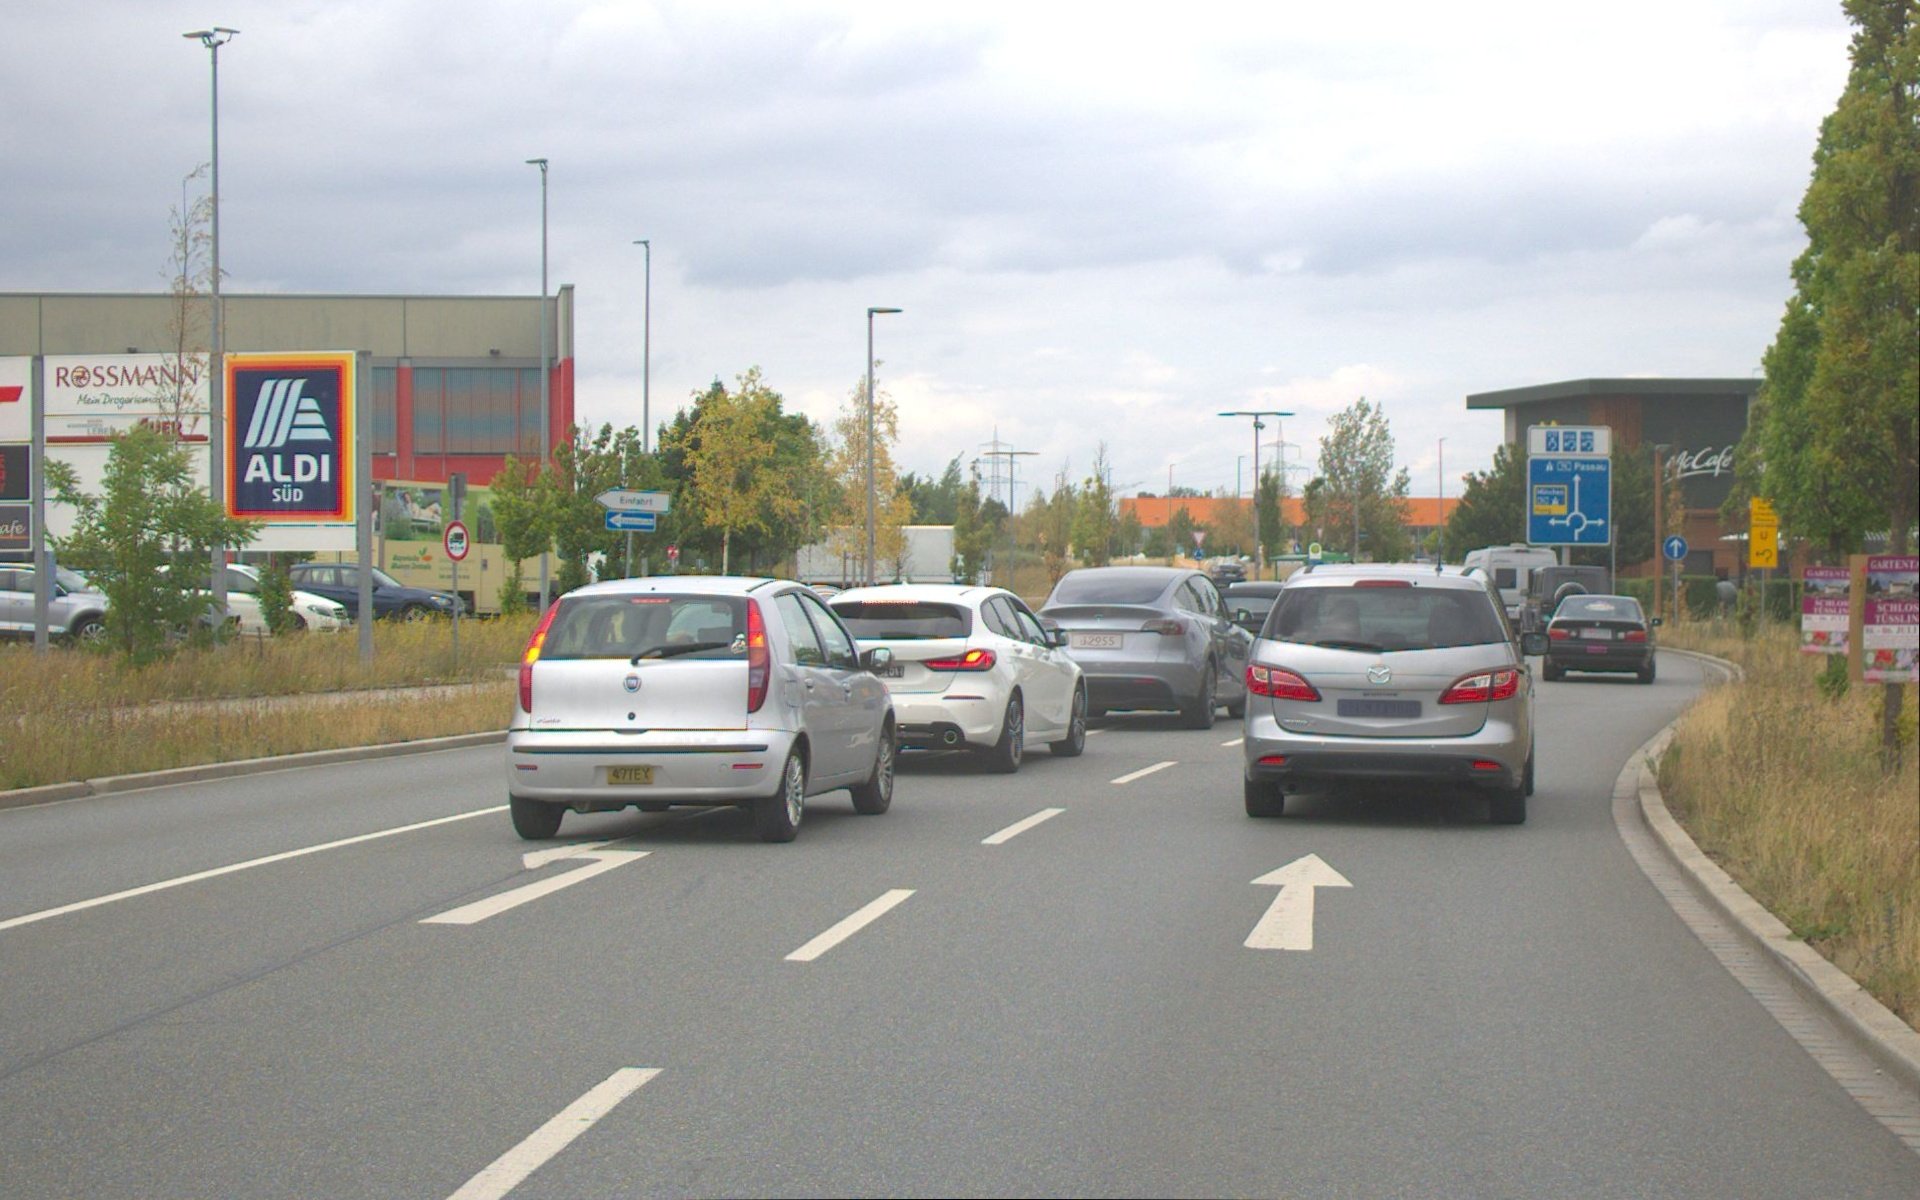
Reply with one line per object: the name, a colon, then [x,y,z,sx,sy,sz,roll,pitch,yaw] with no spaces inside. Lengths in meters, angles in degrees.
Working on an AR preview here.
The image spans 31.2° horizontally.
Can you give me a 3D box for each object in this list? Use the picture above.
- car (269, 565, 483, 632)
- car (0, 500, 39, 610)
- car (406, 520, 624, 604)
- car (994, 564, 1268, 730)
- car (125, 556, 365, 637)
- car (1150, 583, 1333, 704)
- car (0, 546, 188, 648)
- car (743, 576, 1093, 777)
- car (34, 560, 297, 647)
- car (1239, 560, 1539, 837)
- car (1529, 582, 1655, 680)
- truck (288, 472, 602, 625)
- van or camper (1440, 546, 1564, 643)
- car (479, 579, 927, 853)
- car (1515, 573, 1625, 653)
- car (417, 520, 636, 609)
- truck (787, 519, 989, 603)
car: [-12.734,-0.049,75.095,4.233,1.430,1.997,0,1,7]
car: [-24.222,-1.132,85.998,2.057,2.681,5.148,0,1,-13]
car: [-12.650,-1.071,97.947,6.067,2.299,2.211,0,0,-7]
car: [1.838,0.423,35.305,1.995,1.556,4.610,0,1,13]
car: [-14.032,-0.086,67.618,4.247,1.554,1.989,0,1,4]
car: [3.603,0.527,43.401,1.770,1.433,4.228,0,0,12]
car: [-15.857,-0.064,59.877,4.243,1.717,2.028,1,0,9]
car: [-0.241,0.552,27.247,1.881,1.463,4.191,0,0,12]
car: [-14.584,0.044,63.191,4.245,1.508,2.045,1,1,13]
car: [2.792,0.566,22.352,1.730,1.594,3.806,1,1,7]
car: [9.851,0.444,53.410,1.845,1.413,4.222,0,1,11]
truck: [-12.444,-1.225,83.893,2.854,3.529,8.414,1,1,31]
van or camper: [14.454,-0.163,91.985,2.302,2.497,5.206,1,1,-2]
car: [-1.400,0.601,20.341,1.703,1.433,4.031,0,1,10]
car: [14.370,0.279,81.196,2.058,1.819,4.785,0,0,4]
car: [-12.953,-1.061,102.966,6.406,2.589,2.244,0,0,-6]
truck: [-3.346,-1.835,161.319,9.305,3.893,3.143,0,0,2]
